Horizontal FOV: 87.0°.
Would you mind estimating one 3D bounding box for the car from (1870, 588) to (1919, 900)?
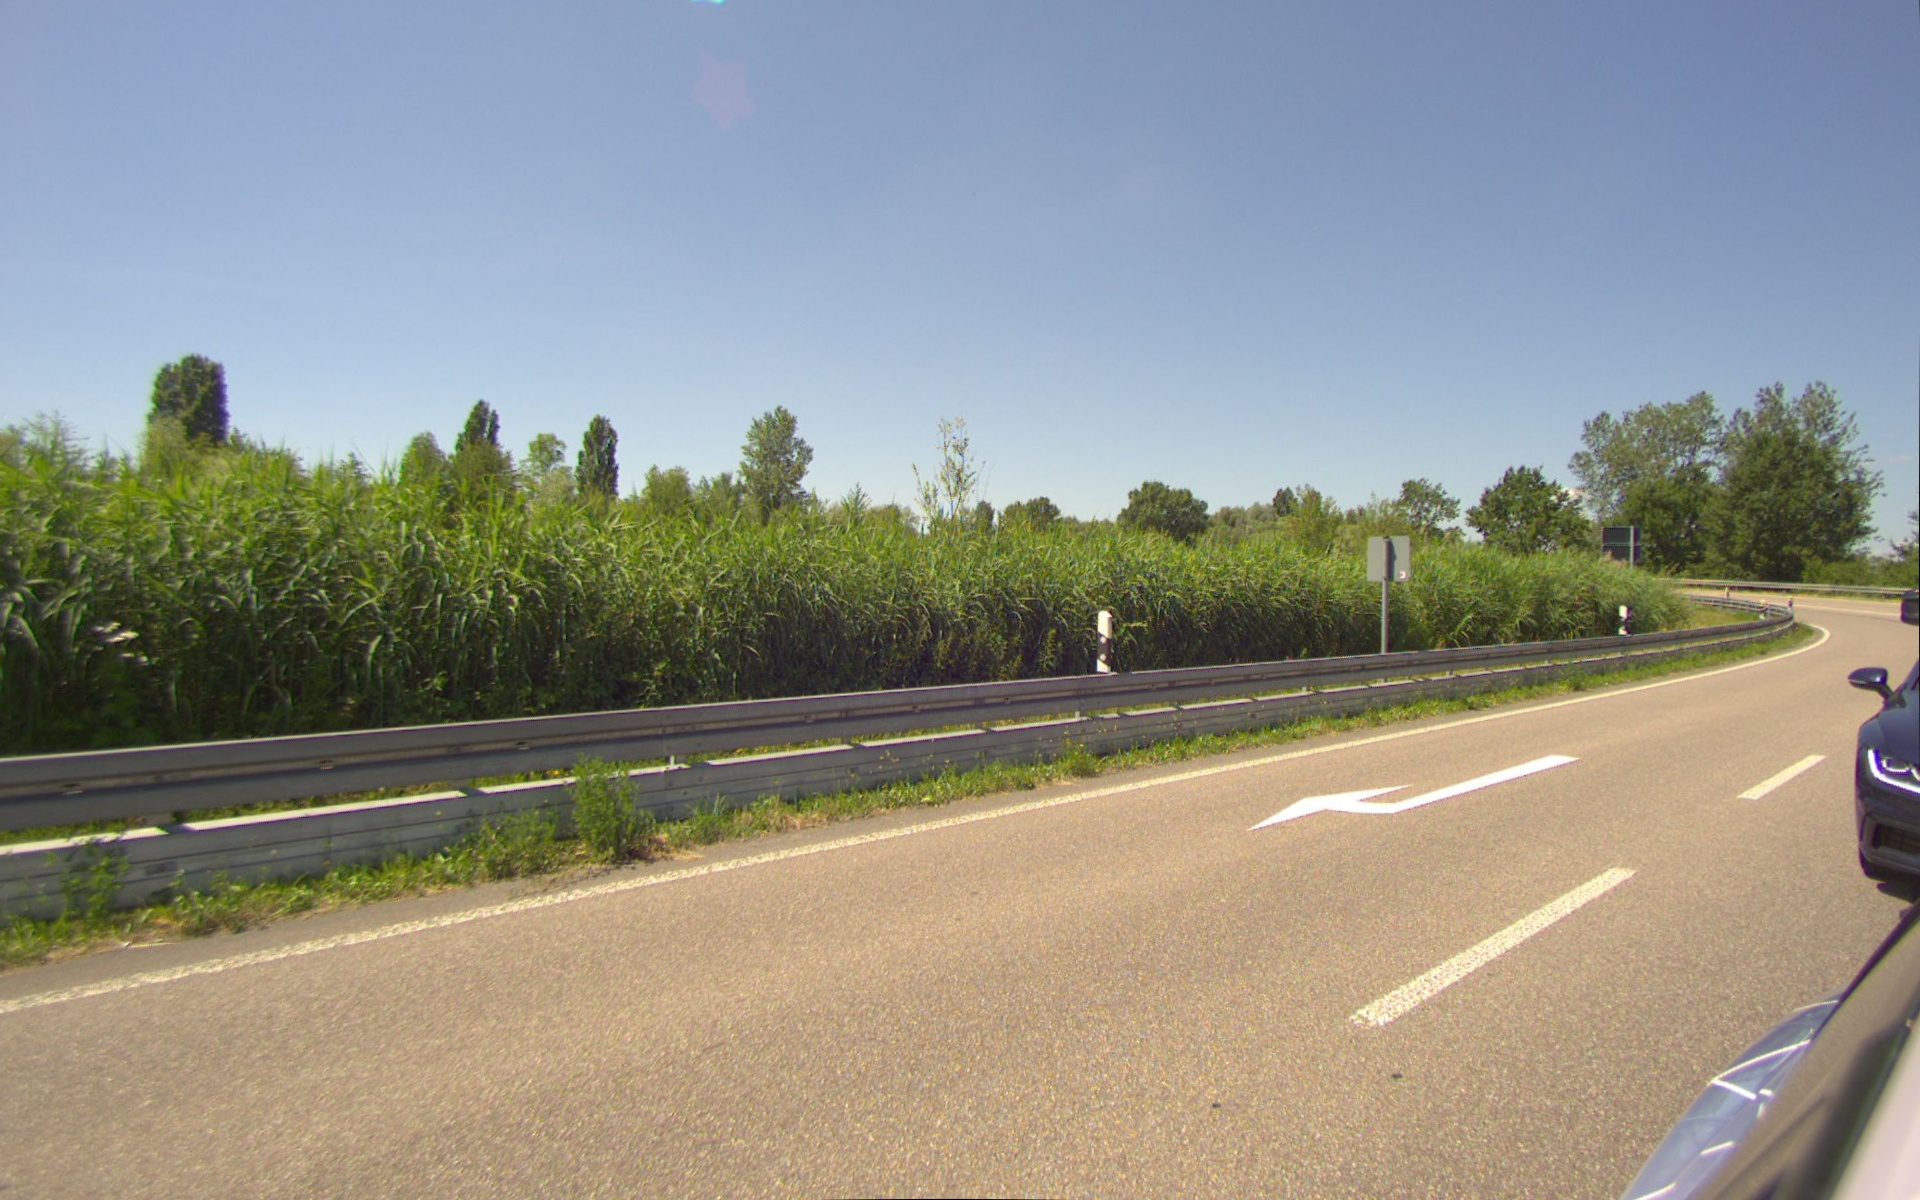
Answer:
[{"bbox_3d":[6.361,0.644,5.408,3.930,1.427,1.759,-1,1,-41],"label":"car"}]
